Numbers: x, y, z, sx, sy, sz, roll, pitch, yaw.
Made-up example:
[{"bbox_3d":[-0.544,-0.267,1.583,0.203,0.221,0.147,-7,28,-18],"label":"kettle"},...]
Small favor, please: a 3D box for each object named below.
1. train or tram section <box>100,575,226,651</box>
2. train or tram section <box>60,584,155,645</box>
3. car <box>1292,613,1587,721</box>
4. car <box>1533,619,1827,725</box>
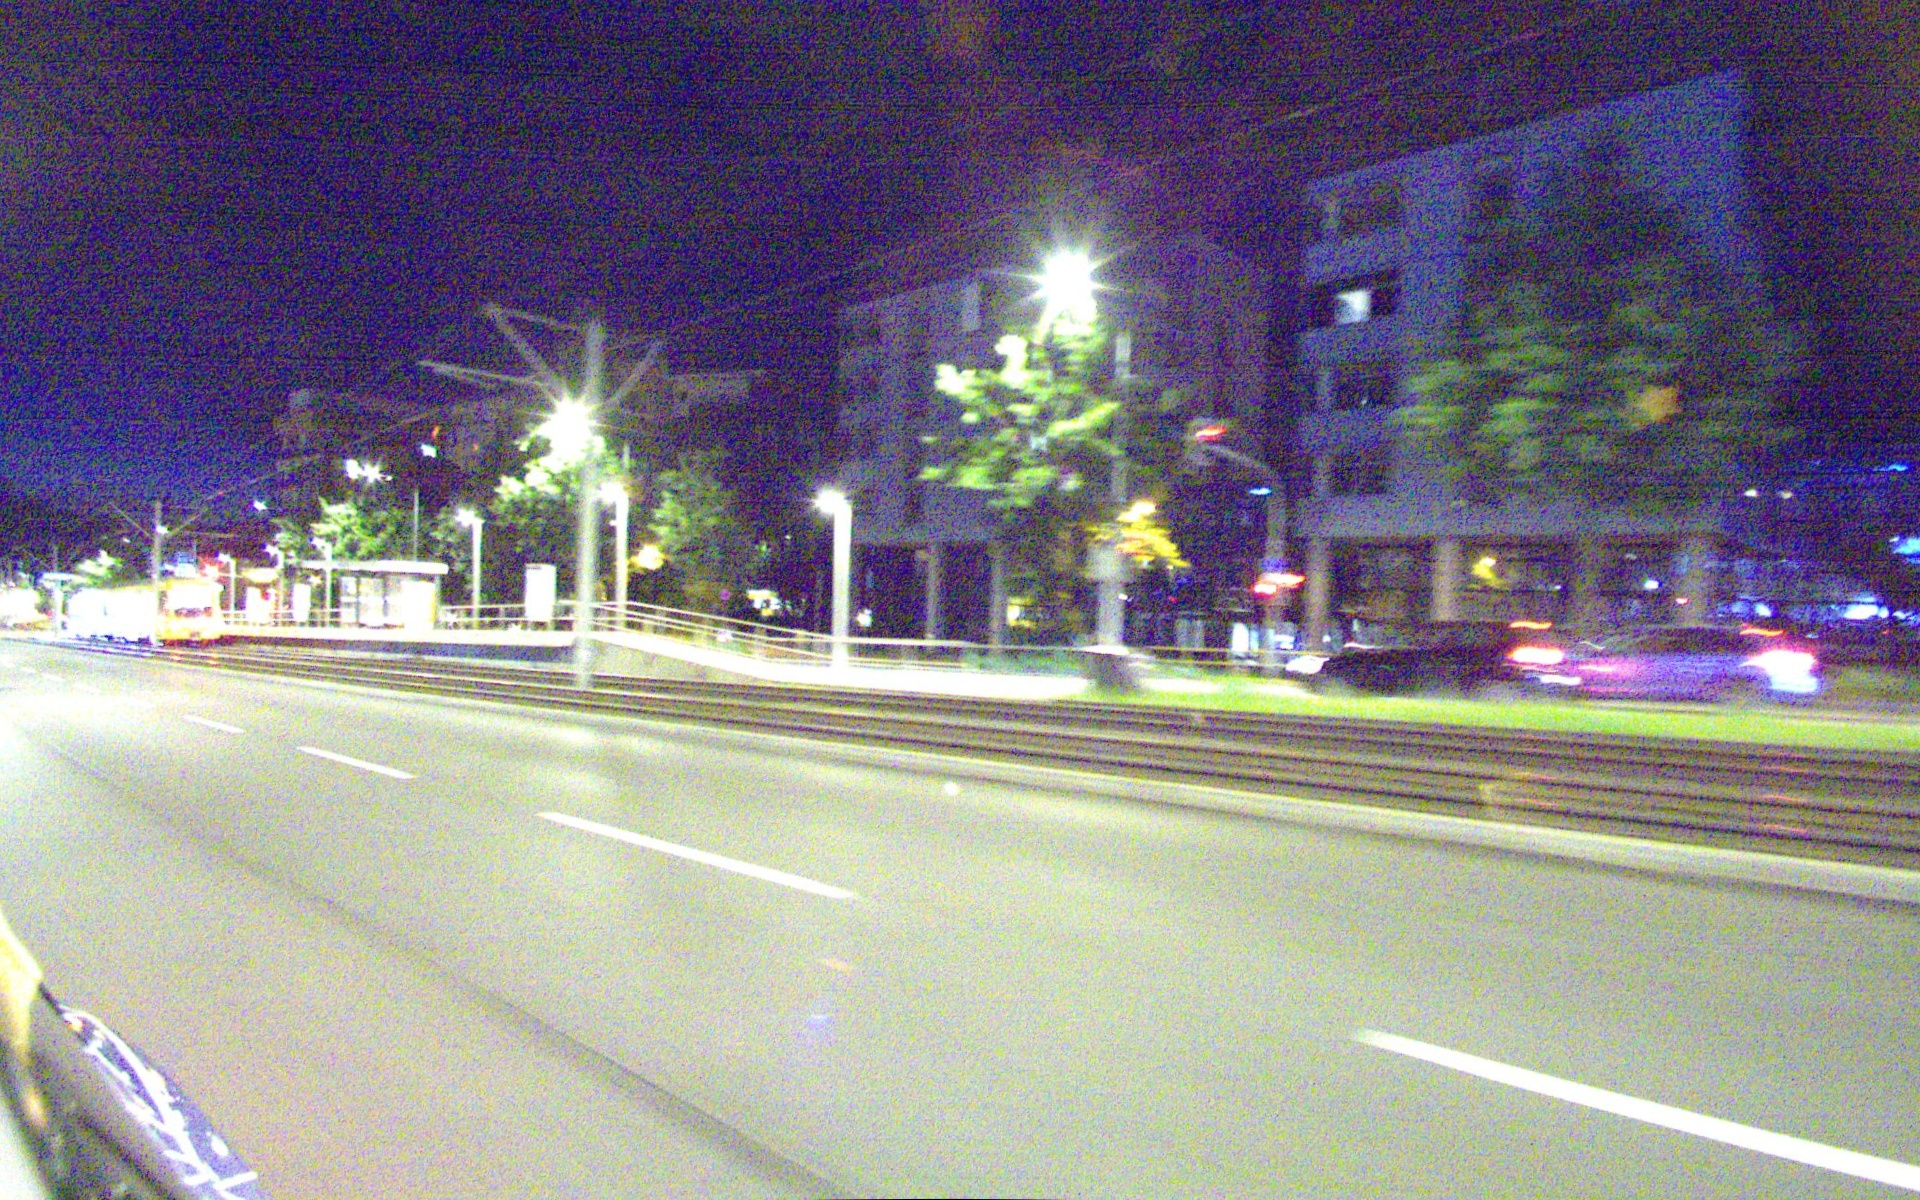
[{"bbox_3d":[-46.724,0.774,58.920,18.666,3.856,2.729,-1,-1,42],"label":"train or tram section"},{"bbox_3d":[-60.741,1.028,71.792,19.361,3.875,2.709,-1,-1,43],"label":"train or tram section"},{"bbox_3d":[7.940,1.009,16.976,4.172,1.508,1.766,1,0,40],"label":"car"},{"bbox_3d":[12.109,1.120,17.170,3.910,1.528,1.642,0,0,43],"label":"car"}]
